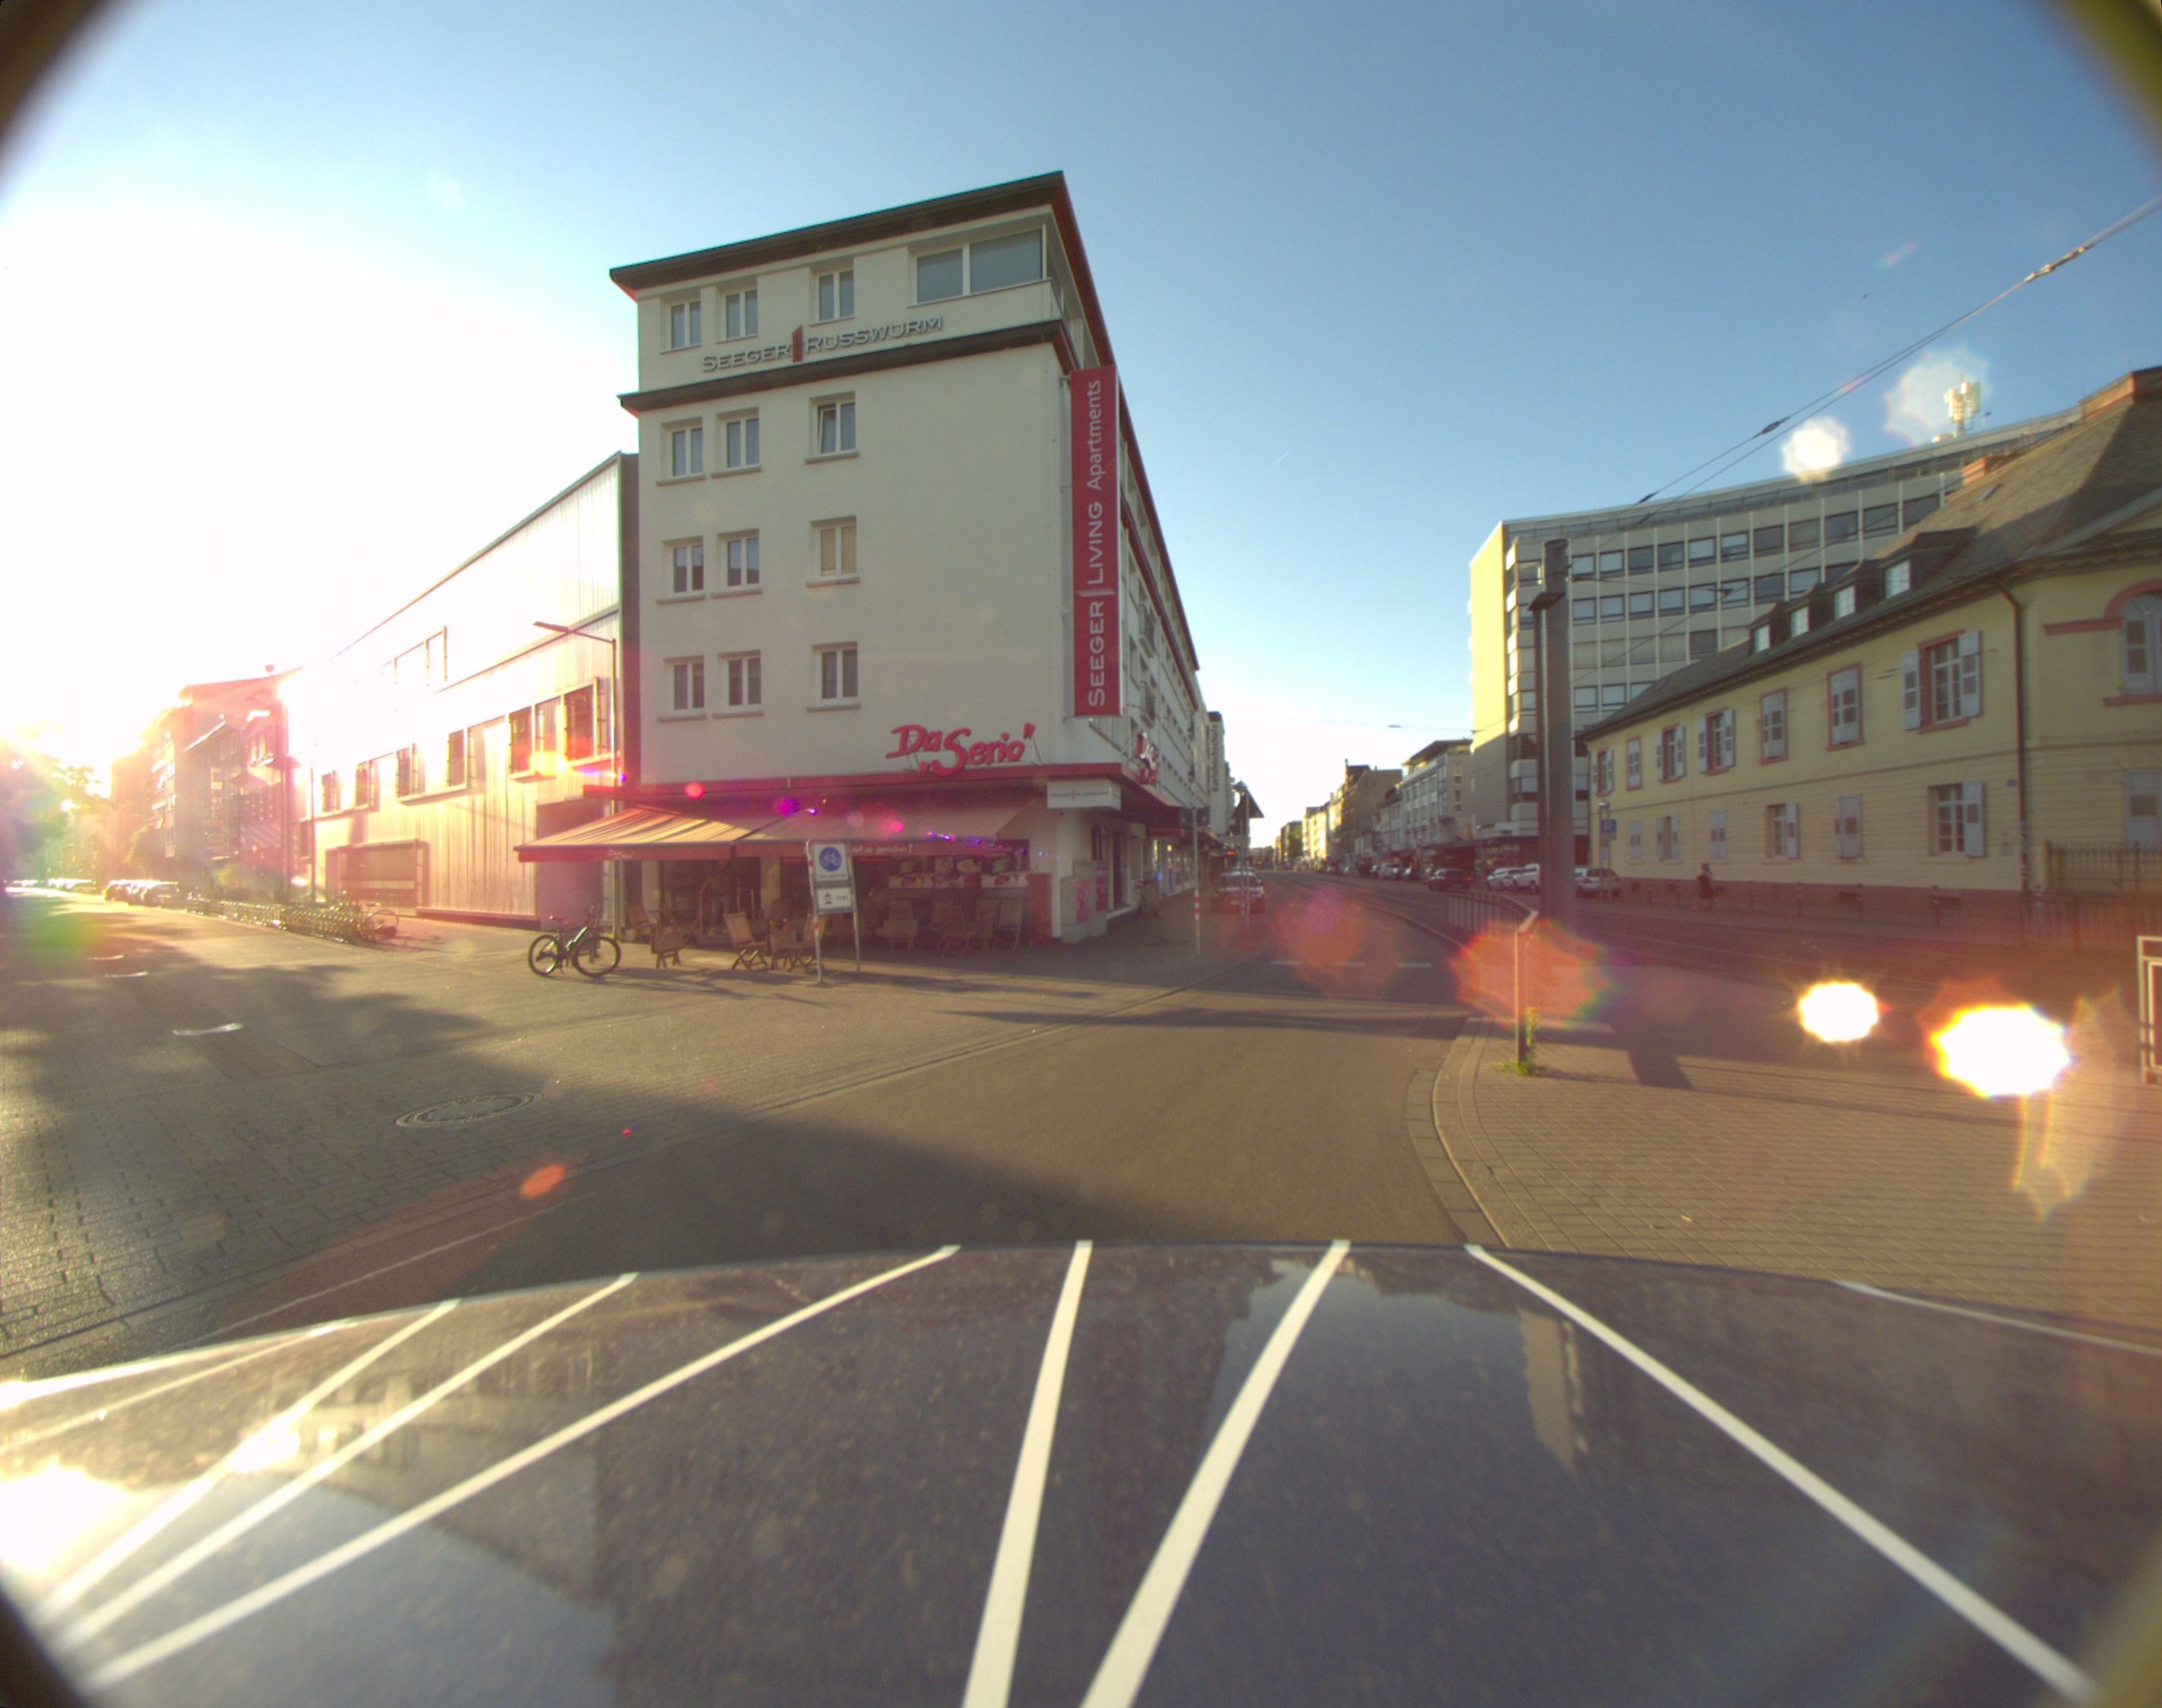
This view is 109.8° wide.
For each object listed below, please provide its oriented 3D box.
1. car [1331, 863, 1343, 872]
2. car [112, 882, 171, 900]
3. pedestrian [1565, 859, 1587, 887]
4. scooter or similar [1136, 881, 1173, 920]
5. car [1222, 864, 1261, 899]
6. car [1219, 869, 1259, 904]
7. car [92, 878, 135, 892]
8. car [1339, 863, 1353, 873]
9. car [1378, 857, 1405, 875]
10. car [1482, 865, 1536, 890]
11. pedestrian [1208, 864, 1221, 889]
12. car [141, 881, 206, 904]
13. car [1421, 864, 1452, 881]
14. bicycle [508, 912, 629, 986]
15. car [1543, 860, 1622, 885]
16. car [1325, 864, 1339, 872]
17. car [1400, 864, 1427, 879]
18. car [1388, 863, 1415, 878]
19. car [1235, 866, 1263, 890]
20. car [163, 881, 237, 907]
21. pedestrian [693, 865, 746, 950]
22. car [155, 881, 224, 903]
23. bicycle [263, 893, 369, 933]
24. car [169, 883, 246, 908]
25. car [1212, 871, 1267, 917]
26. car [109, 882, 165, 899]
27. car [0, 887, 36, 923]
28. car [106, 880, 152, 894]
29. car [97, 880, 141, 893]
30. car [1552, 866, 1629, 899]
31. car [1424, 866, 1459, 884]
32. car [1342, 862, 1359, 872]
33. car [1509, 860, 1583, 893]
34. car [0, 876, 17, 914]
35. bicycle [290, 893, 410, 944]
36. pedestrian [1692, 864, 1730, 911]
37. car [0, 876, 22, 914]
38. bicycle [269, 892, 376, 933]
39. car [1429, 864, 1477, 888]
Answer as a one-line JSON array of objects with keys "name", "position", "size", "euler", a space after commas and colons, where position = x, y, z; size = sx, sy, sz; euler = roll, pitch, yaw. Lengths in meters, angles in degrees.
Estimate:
[{"name": "car", "position": [48.698, 2.589, 144.515], "size": [1.844, 1.484, 3.820], "euler": [-3, -1, 13]}, {"name": "car", "position": [-70.772, 2.782, 57.256], "size": [1.445, 1.239, 2.694], "euler": [-3, -1, 35]}, {"name": "pedestrian", "position": [28.775, 1.094, 44.193], "size": [0.801, 1.532, 0.878], "euler": [-3, 0, 15]}, {"name": "scooter or similar", "position": [2.352, 1.477, 24.407], "size": [0.336, 1.187, 1.435], "euler": [0, -1, -34]}, {"name": "car", "position": [8.681, 1.450, 41.020], "size": [1.859, 1.690, 4.422], "euler": [-3, -1, 12]}, {"name": "car", "position": [7.388, 1.479, 35.380], "size": [1.654, 1.412, 4.195], "euler": [-3, -1, 13]}, {"name": "car", "position": [-101.860, 3.240, 80.018], "size": [1.262, 1.271, 2.694], "euler": [-3, -1, 35]}, {"name": "car", "position": [44.774, 2.364, 128.228], "size": [1.658, 1.561, 3.473], "euler": [-3, -1, 11]}, {"name": "car", "position": [36.836, 1.389, 90.271], "size": [1.967, 2.001, 5.105], "euler": [-3, -1, 12]}, {"name": "car", "position": [27.346, 1.498, 48.687], "size": [1.723, 1.444, 4.288], "euler": [-3, -1, 12]}, {"name": "pedestrian", "position": [8.793, 1.476, 50.052], "size": [0.734, 1.564, 0.968], "euler": [-1, 0, 12]}, {"name": "car", "position": [-59.560, 2.519, 49.890], "size": [1.295, 1.292, 2.591], "euler": [-3, -1, 36]}, {"name": "car", "position": [31.346, 1.648, 67.055], "size": [1.694, 1.425, 3.596], "euler": [-1, -1, 12]}, {"name": "bicycle", "position": [-8.599, 1.569, 12.749], "size": [1.907, 1.152, 0.537], "euler": [-2, 0, 15]}, {"name": "car", "position": [34.307, 1.276, 52.074], "size": [3.994, 1.544, 1.916], "euler": [-3, -1, 11]}, {"name": "car", "position": [51.530, 2.867, 156.061], "size": [1.997, 1.411, 4.408], "euler": [-3, -1, 10]}, {"name": "car", "position": [33.442, 1.726, 76.471], "size": [1.793, 1.452, 4.096], "euler": [0, -1, 14]}, {"name": "car", "position": [35.000, 1.765, 83.017], "size": [1.875, 1.418, 4.576], "euler": [-3, -1, 13]}, {"name": "car", "position": [11.918, 1.693, 54.091], "size": [1.795, 1.524, 4.861], "euler": [-3, -1, 12]}, {"name": "car", "position": [-51.151, 2.323, 44.142], "size": [1.445, 1.351, 2.694], "euler": [-3, -1, 38]}, {"name": "pedestrian", "position": [-7.980, 1.163, 16.807], "size": [0.715, 1.815, 0.762], "euler": [-2, 1, 1]}, {"name": "car", "position": [-55.222, 2.357, 47.101], "size": [1.445, 1.239, 2.694], "euler": [-3, -1, 38]}, {"name": "bicycle", "position": [-24.919, 1.896, 24.814], "size": [0.527, 1.133, 2.348], "euler": [-3, -1, 30]}, {"name": "car", "position": [-48.356, 2.279, 42.101], "size": [1.445, 1.239, 2.694], "euler": [-3, -1, 38]}, {"name": "car", "position": [5.943, 1.430, 28.361], "size": [1.793, 1.404, 4.692], "euler": [-3, -1, 12]}, {"name": "car", "position": [-74.632, 2.882, 60.093], "size": [1.400, 1.239, 2.694], "euler": [-3, -1, 35]}, {"name": "car", "position": [-41.560, 1.926, 27.415], "size": [1.999, 1.337, 4.153], "euler": [-1, -1, -2]}, {"name": "car", "position": [-93.055, 3.221, 74.264], "size": [1.445, 1.239, 2.694], "euler": [-1, -1, 35]}, {"name": "car", "position": [-96.710, 3.248, 76.389], "size": [1.445, 1.161, 2.694], "euler": [-1, -1, 35]}, {"name": "car", "position": [24.840, 1.345, 37.205], "size": [1.751, 1.465, 4.005], "euler": [-3, -2, 12]}, {"name": "car", "position": [29.778, 1.716, 62.883], "size": [1.694, 1.416, 3.970], "euler": [-3, -1, 13]}, {"name": "car", "position": [43.980, 2.155, 124.045], "size": [1.894, 1.547, 4.627], "euler": [-3, -1, 13]}, {"name": "car", "position": [25.870, 1.213, 42.438], "size": [1.890, 1.651, 4.766], "euler": [-3, -1, 11]}, {"name": "car", "position": [-56.970, 2.147, 37.947], "size": [1.864, 1.965, 4.003], "euler": [-3, -1, 8]}, {"name": "bicycle", "position": [-20.824, 1.800, 21.708], "size": [0.604, 1.225, 2.348], "euler": [-1, 1, 30]}, {"name": "pedestrian", "position": [21.042, 1.115, 25.383], "size": [0.720, 1.527, 0.719], "euler": [0, 0, 8]}, {"name": "car", "position": [-59.470, 2.253, 39.907], "size": [1.843, 2.001, 4.003], "euler": [-3, -1, 8]}, {"name": "bicycle", "position": [-24.421, 1.873, 24.514], "size": [0.527, 1.138, 2.348], "euler": [-2, 0, 30]}, {"name": "car", "position": [23.569, 1.371, 48.300], "size": [1.769, 1.368, 4.227], "euler": [-1, -1, 12]}]
